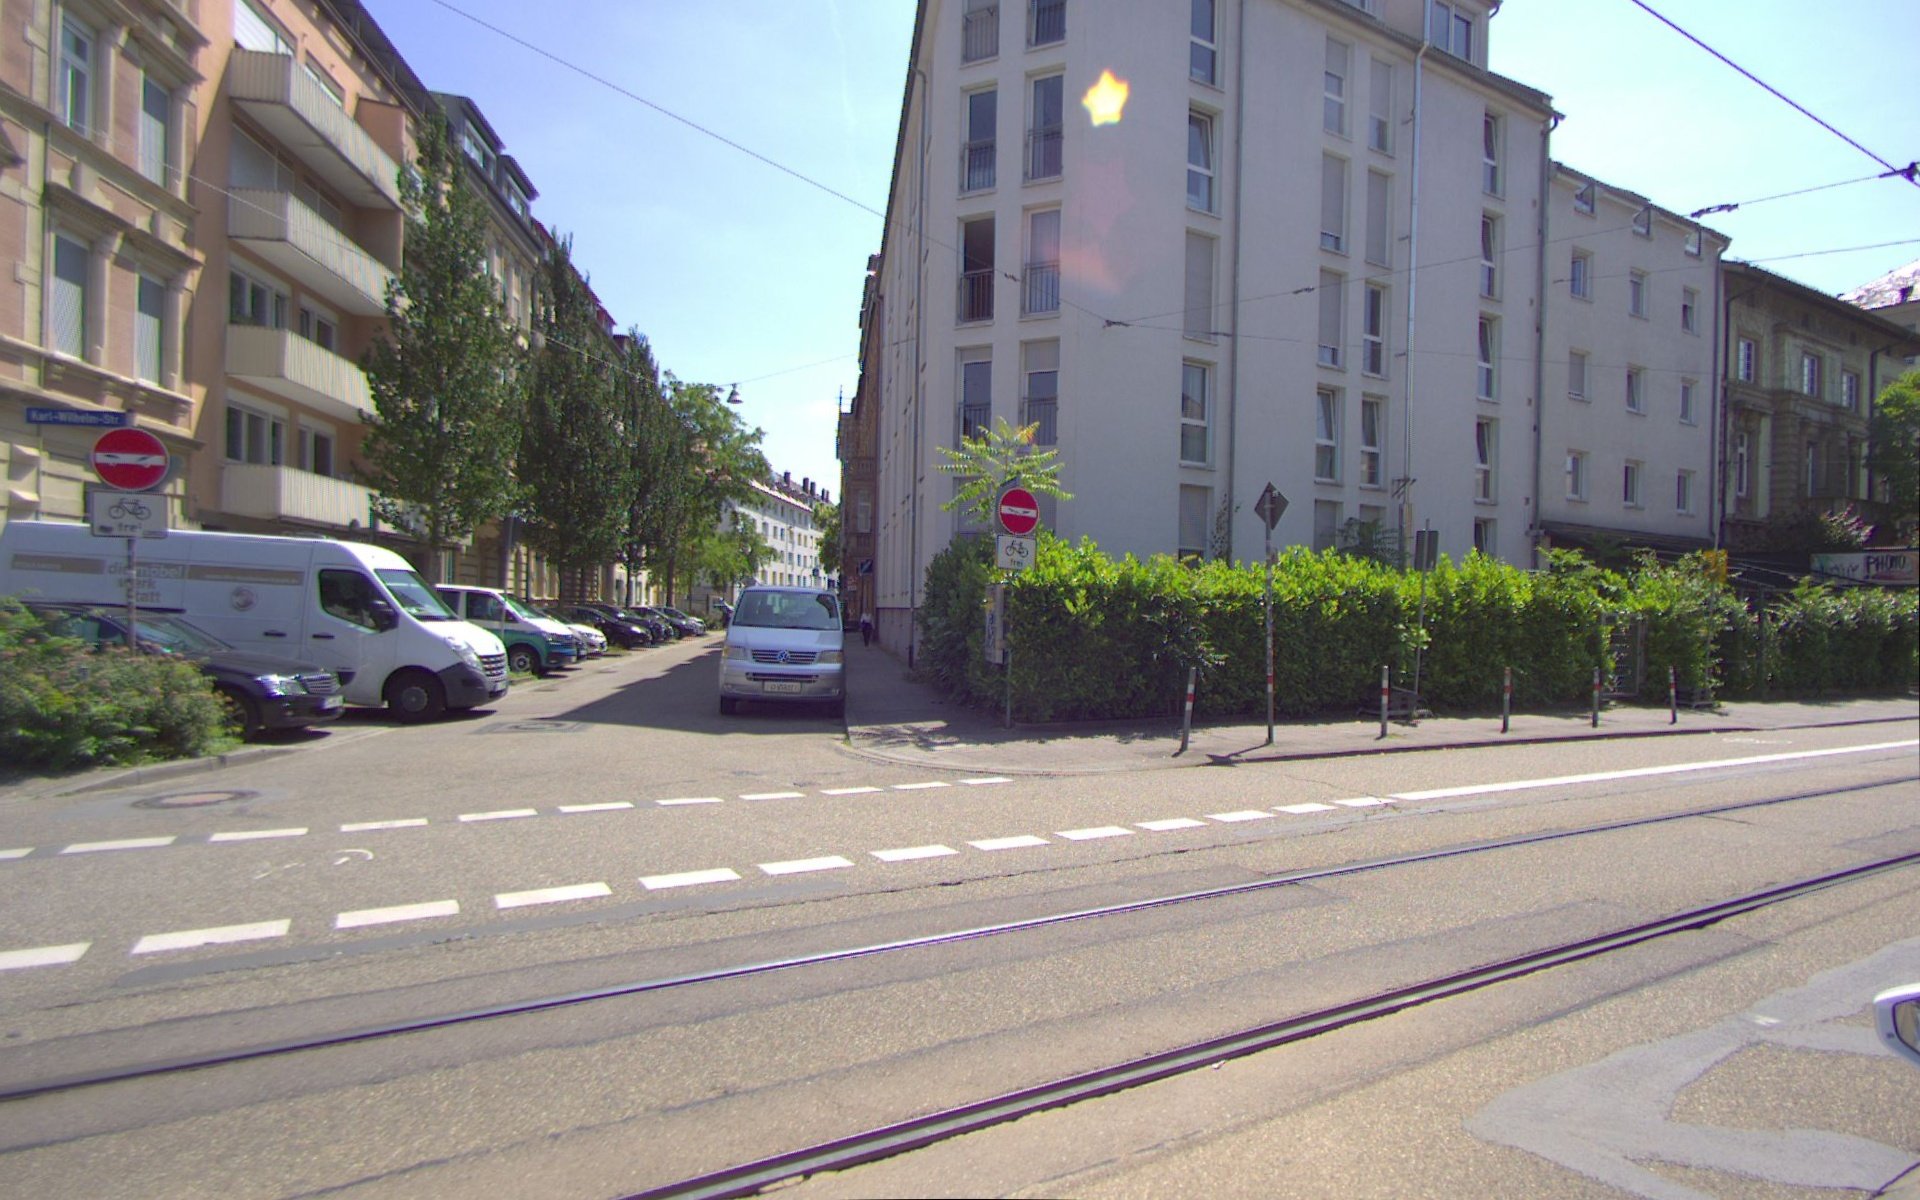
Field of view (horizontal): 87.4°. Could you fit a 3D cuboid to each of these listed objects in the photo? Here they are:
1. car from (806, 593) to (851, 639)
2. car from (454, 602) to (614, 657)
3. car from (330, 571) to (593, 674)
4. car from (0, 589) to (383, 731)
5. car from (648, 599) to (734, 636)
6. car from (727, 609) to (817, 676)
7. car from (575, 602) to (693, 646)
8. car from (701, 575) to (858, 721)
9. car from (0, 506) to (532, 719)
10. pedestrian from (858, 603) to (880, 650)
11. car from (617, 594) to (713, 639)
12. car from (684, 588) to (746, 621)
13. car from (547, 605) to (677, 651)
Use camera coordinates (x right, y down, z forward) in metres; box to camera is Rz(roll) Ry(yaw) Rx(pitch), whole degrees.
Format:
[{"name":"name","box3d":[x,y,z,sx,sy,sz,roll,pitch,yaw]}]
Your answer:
[{"name":"car","box3d":[-6.201,0.759,47.567,1.963,2.040,4.044,2,0,-7]},{"name":"car","box3d":[-12.393,0.846,29.410,3.924,1.391,1.648,3,0,-5]},{"name":"car","box3d":[-11.071,0.514,22.707,4.858,2.117,2.122,2,0,-11]},{"name":"car","box3d":[-8.912,0.663,11.450,3.694,1.457,1.590,2,-1,-15]},{"name":"car","box3d":[-13.861,0.910,51.971,3.924,1.700,1.998,2,0,-5]},{"name":"car","box3d":[-4.688,1.015,25.557,1.963,1.513,4.044,2,-1,-7]},{"name":"car","box3d":[-12.457,0.901,38.603,3.924,1.474,1.998,3,0,-5]},{"name":"car","box3d":[-2.849,0.692,16.407,2.117,2.011,4.699,1,0,-8]},{"name":"car","box3d":[-9.517,0.220,14.076,6.079,2.624,2.122,2,0,-11]},{"name":"pedestrian","box3d":[-3.435,0.989,37.841,0.773,1.757,0.652,1,0,-7]},{"name":"car","box3d":[-13.745,0.772,47.052,3.924,1.908,1.998,2,0,-5]},{"name":"car","box3d":[-16.513,0.314,67.745,3.932,2.040,1.995,3,0,-14]},{"name":"car","box3d":[-12.260,0.975,35.583,3.924,1.416,1.998,3,0,-5]}]
